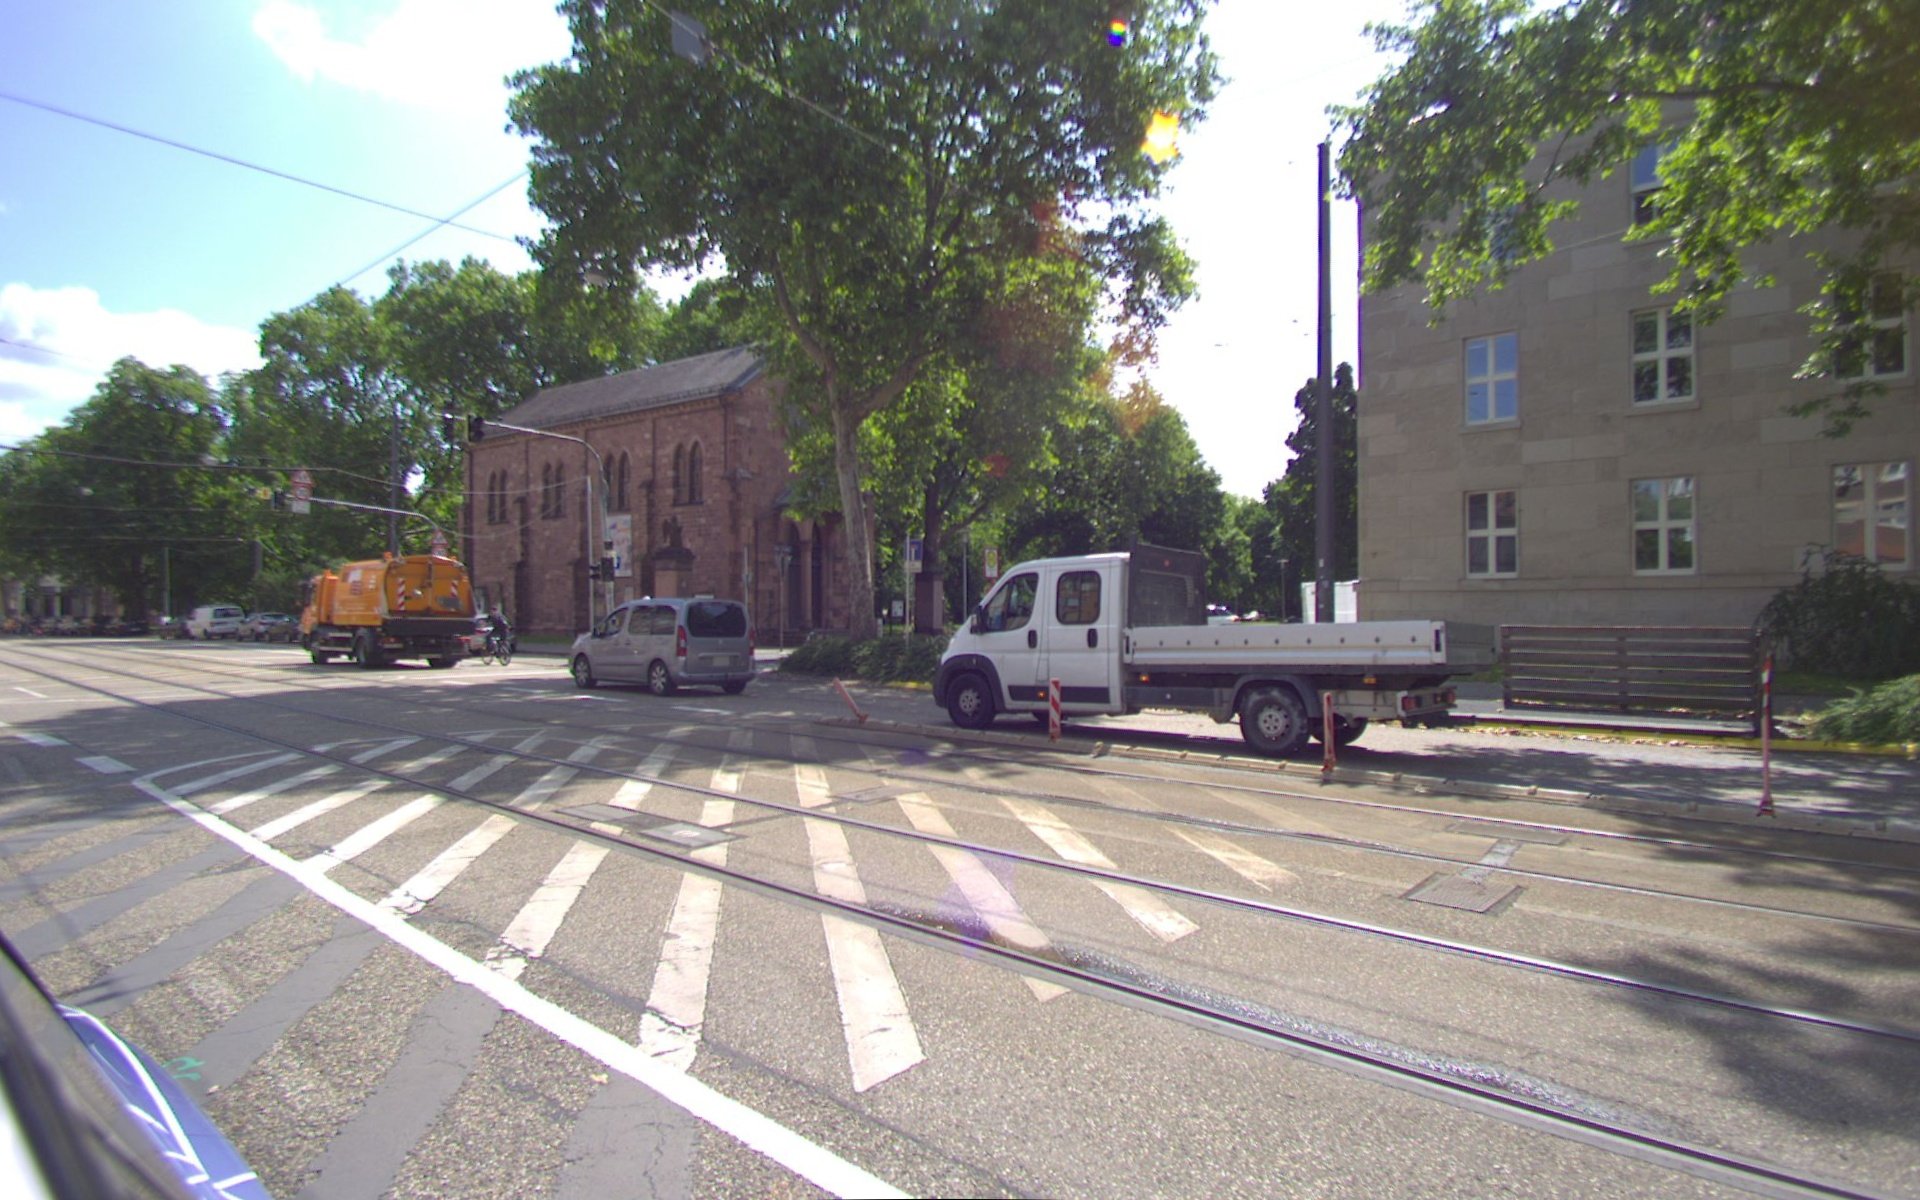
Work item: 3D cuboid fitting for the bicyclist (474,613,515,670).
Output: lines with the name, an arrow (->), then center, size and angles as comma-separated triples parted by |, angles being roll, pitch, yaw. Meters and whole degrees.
bicyclist -> -14.132, 1.256, 30.717 | 1.175, 1.699, 0.694 | -2, -1, 41

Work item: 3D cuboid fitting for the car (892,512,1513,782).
car -> 2.461, 0.512, 12.101 | 6.976, 2.392, 2.232 | -1, -3, 40

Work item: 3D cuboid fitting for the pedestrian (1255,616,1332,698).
pedestrian -> 5.441, 0.908, 16.513 | 0.913, 1.221, 0.747 | -1, 4, 43

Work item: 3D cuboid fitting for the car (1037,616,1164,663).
car -> 5.025, 1.402, 36.006 | 4.364, 1.620, 1.755 | -1, -1, 12

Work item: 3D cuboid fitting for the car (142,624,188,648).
car -> -53.153, 2.371, 67.628 | 3.999, 1.508, 1.738 | -1, 0, 42

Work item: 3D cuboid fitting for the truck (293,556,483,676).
truck -> -16.866, 0.501, 29.602 | 7.220, 3.130, 2.611 | -1, -2, 42

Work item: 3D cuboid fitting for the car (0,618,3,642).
car -> -89.609, 2.789, 92.117 | 3.959, 2.201, 1.756 | -1, 0, 13

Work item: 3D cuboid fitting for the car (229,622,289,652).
car -> -37.655, 1.952, 54.328 | 3.999, 1.508, 1.738 | -1, 0, 42

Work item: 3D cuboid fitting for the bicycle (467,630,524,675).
bicycle -> -14.098, 1.573, 30.694 | 2.217, 1.300, 0.697 | -2, -1, 41

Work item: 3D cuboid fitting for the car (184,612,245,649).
car -> -44.431, 1.798, 60.309 | 4.081, 2.019, 1.969 | -1, 0, 39

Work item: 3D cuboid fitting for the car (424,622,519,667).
car -> -17.971, 1.583, 37.158 | 3.999, 1.508, 1.738 | -1, 0, 42

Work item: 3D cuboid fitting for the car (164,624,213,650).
car -> -48.519, 2.284, 63.621 | 3.999, 1.508, 1.738 | -1, 0, 42

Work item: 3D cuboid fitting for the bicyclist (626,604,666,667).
bicyclist -> -9.412, 1.055, 30.325 | 0.661, 1.797, 0.874 | -1, 1, 37

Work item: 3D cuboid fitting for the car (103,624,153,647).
car -> -59.160, 2.500, 71.926 | 3.991, 1.508, 1.742 | -1, 0, 35

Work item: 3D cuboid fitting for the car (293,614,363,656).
car -> -29.613, 1.618, 47.399 | 3.999, 1.850, 1.738 | -1, 0, 42

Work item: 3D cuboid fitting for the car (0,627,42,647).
car -> -78.089, 3.069, 83.769 | 3.977, 1.508, 1.748 | -1, 0, 25

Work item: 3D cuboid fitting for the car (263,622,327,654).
car -> -33.518, 1.872, 50.957 | 3.999, 1.508, 1.738 | -1, 0, 42

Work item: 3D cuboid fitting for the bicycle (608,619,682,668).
bicycle -> -9.423, 1.294, 30.306 | 0.671, 1.299, 2.062 | -1, 2, 38

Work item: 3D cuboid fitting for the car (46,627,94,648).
car -> -68.259, 2.836, 77.590 | 3.988, 1.508, 1.743 | -1, 0, 33

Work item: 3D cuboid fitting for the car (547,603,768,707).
car -> -5.884, 1.002, 19.424 | 4.534, 1.759, 1.901 | -1, -3, 41

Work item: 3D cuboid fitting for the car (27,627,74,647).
car -> -71.906, 2.893, 79.984 | 3.987, 1.508, 1.743 | -1, 0, 32
